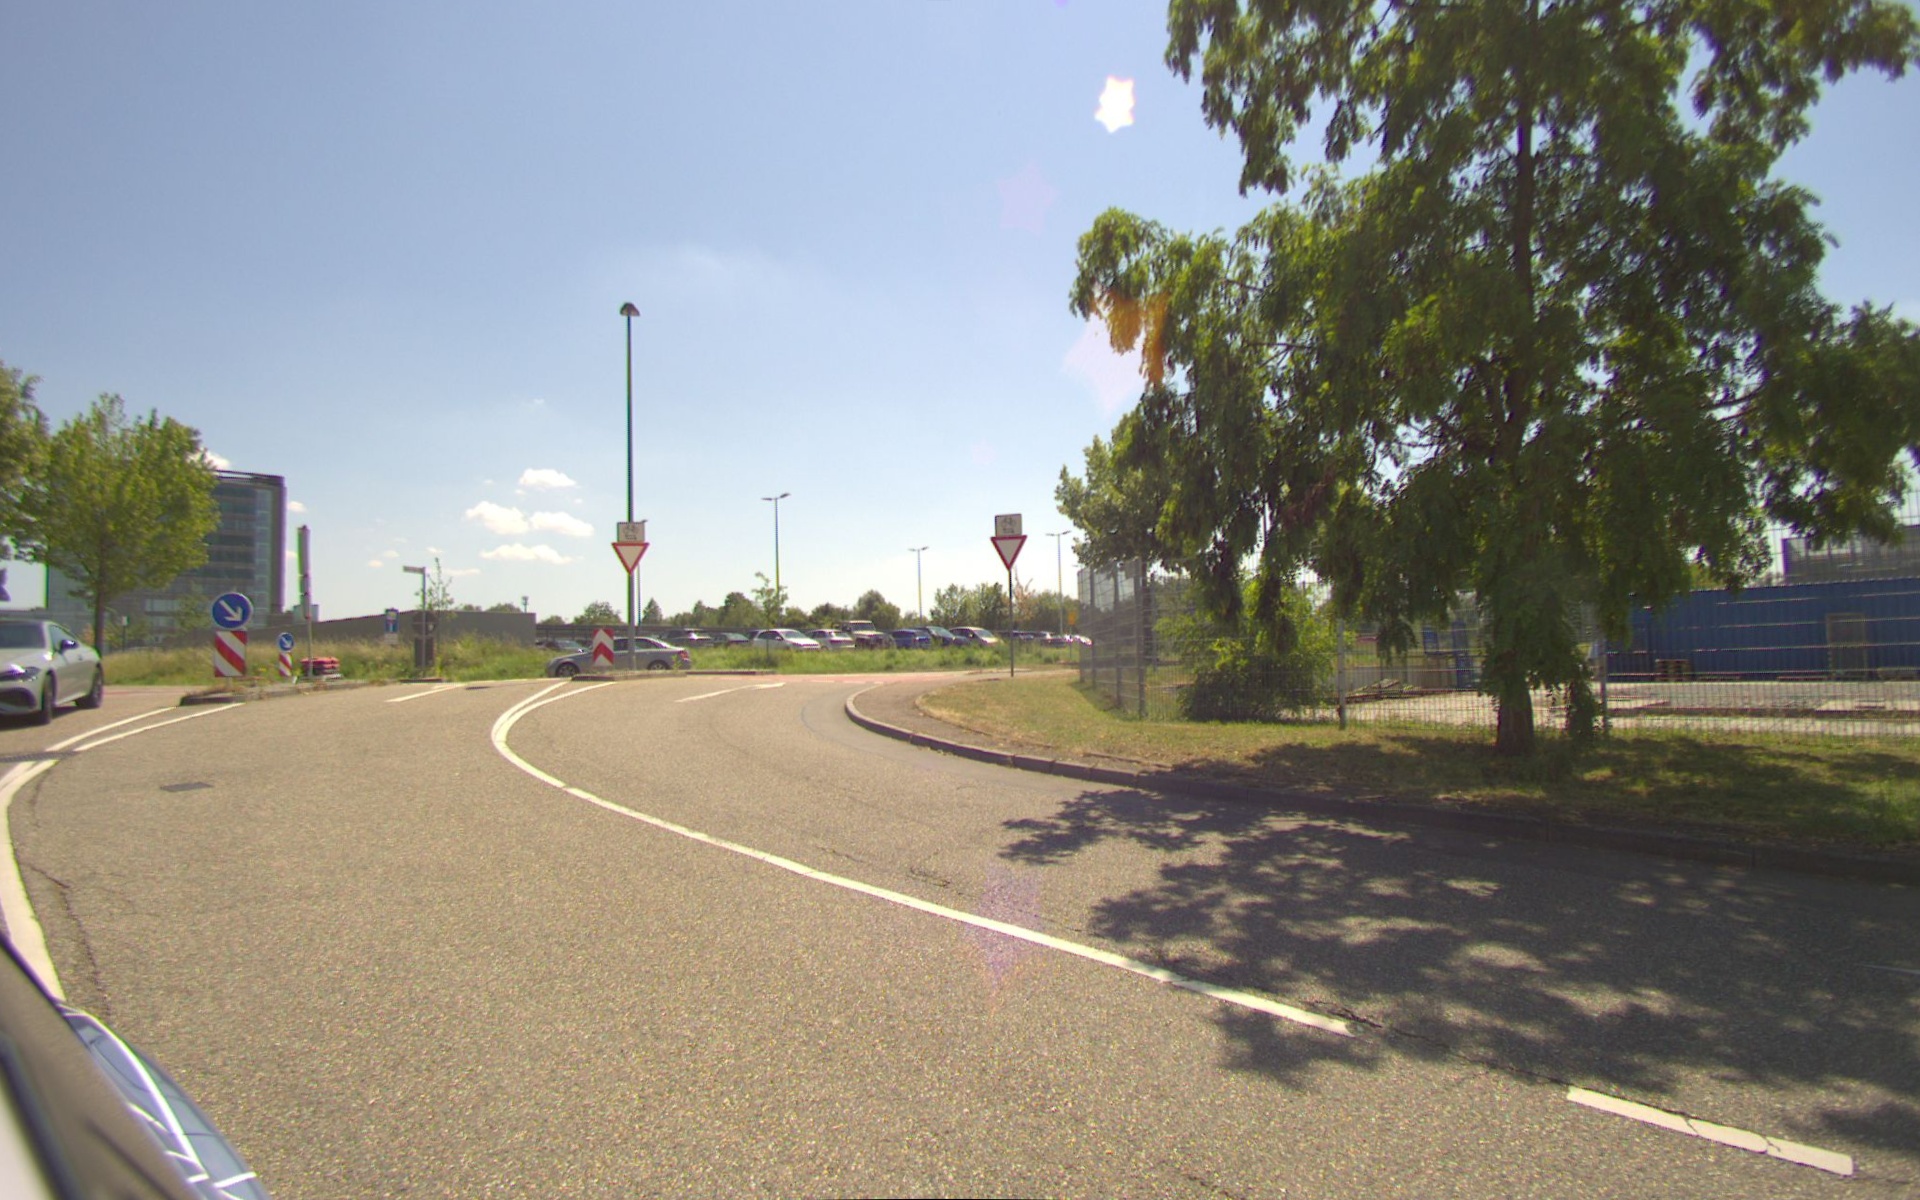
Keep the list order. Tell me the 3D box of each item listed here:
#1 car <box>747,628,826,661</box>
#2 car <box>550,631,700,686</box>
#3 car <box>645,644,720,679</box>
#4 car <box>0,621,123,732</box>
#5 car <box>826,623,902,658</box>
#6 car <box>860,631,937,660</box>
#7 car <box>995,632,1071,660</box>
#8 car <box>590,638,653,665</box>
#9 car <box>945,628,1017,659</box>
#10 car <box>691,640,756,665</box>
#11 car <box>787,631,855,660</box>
[{"bbox_3d":[-8.005,2.051,46.620,3.878,1.307,1.552,-5,-3,44],"label":"car"},{"bbox_3d":[-10.689,1.868,32.487,4.421,1.385,1.678,-3,-5,-16],"label":"car"},{"bbox_3d":[-15.137,3.356,55.089,4.602,1.703,1.753,-6,-6,41],"label":"car"},{"bbox_3d":[-13.857,1.035,14.490,1.866,1.393,4.648,-2,0,-27],"label":"car"},{"bbox_3d":[-4.854,2.042,50.686,1.848,1.539,3.753,-1,-3,-42],"label":"car"},{"bbox_3d":[-3.218,2.360,52.398,3.943,1.267,1.564,-5,-3,40],"label":"car"},{"bbox_3d":[4.183,2.675,58.212,4.001,1.301,1.881,-8,-6,44],"label":"car"},{"bbox_3d":[-19.437,2.931,58.011,3.631,1.457,1.633,-3,-4,36],"label":"car"},{"bbox_3d":[1.136,2.421,56.124,3.847,1.636,1.595,-3,-4,40],"label":"car"},{"bbox_3d":[-13.216,2.940,56.469,3.847,1.373,1.630,-3,-3,41],"label":"car"},{"bbox_3d":[-6.702,2.190,48.623,3.270,1.191,1.480,-5,-3,43],"label":"car"}]
